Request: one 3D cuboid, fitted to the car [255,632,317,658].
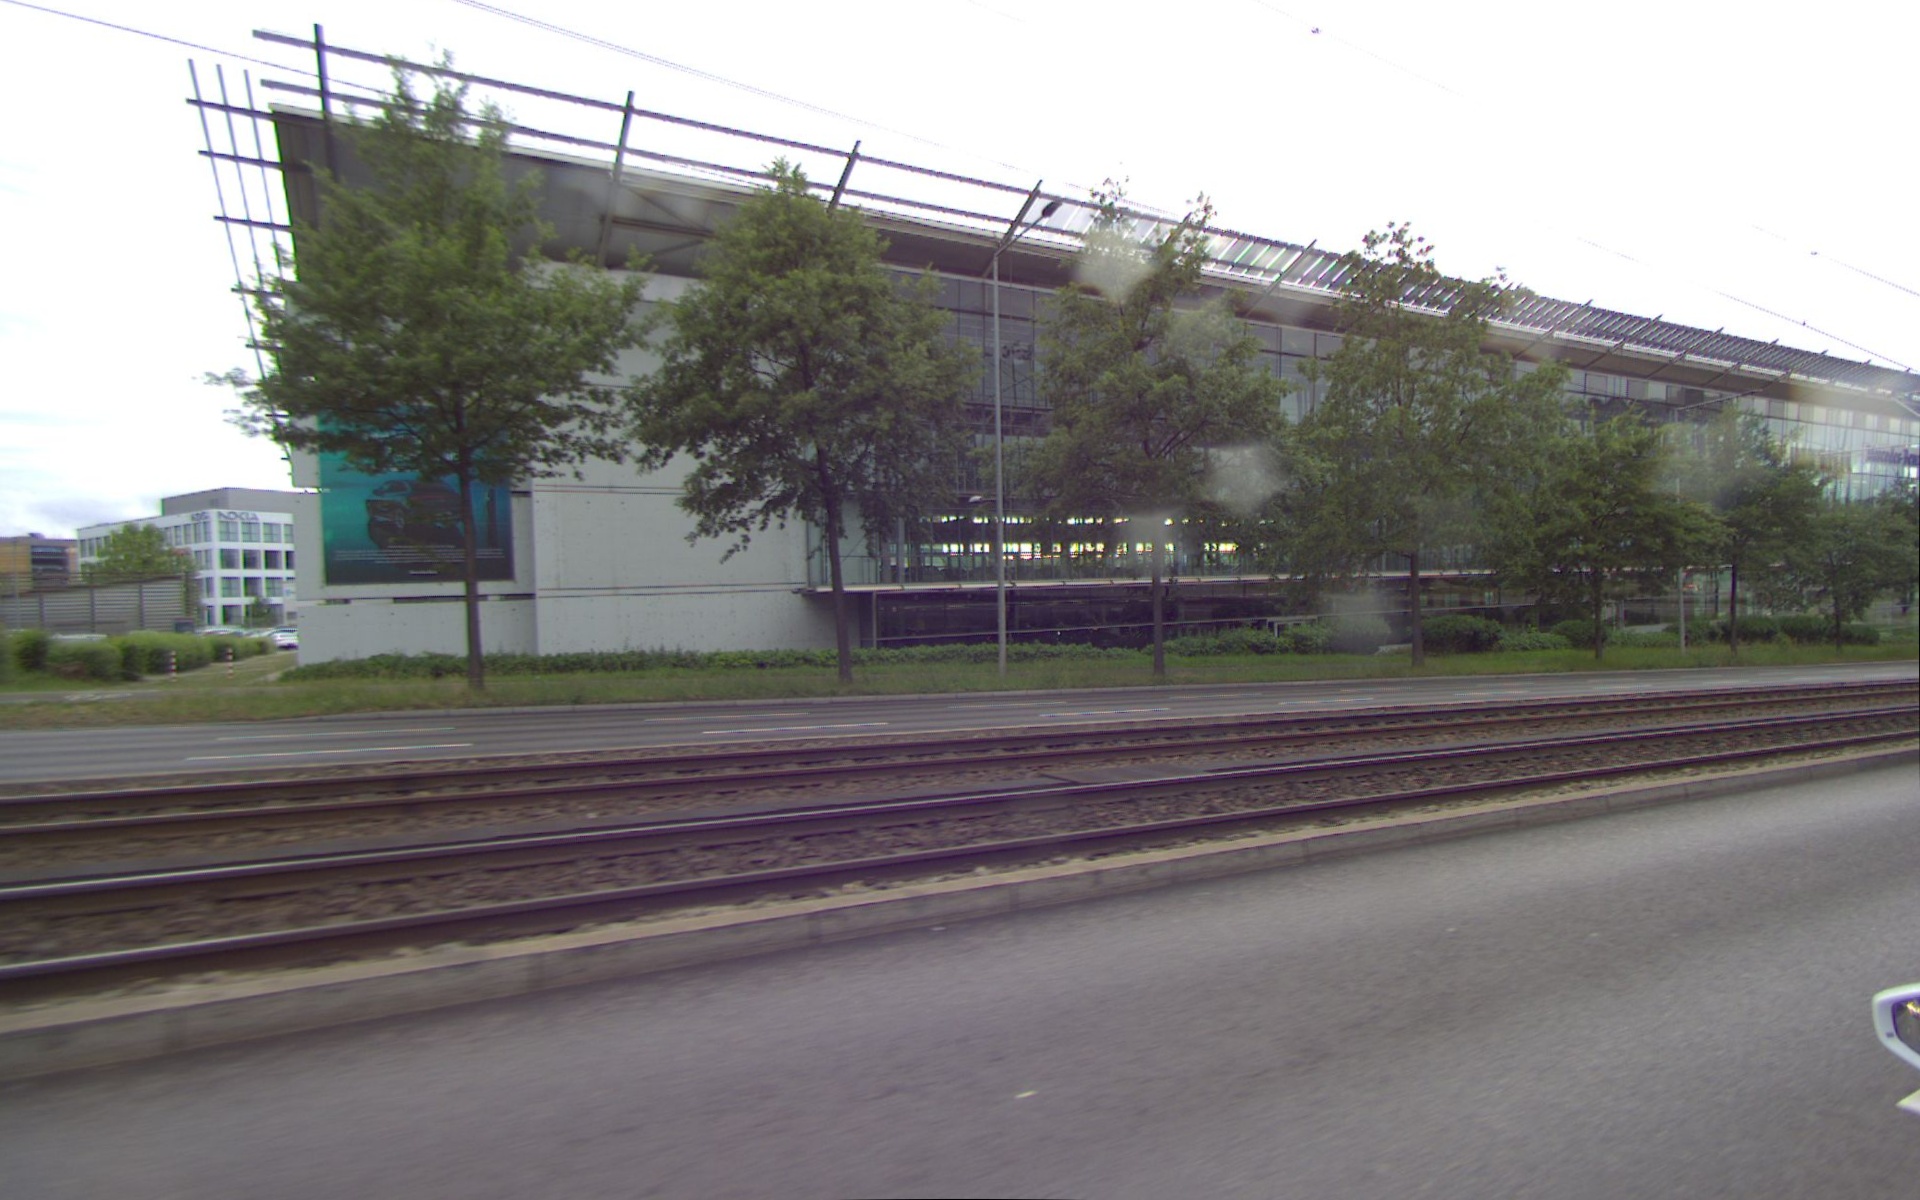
[{"bbox_3d":[-55.165,3.677,82.290,3.951,2.040,1.985,2,0,-29],"label":"car"}]

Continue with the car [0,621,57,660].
[{"bbox_3d":[-39.015,1.635,40.373,1.767,1.409,4.000,2,0,1],"label":"car"}]
